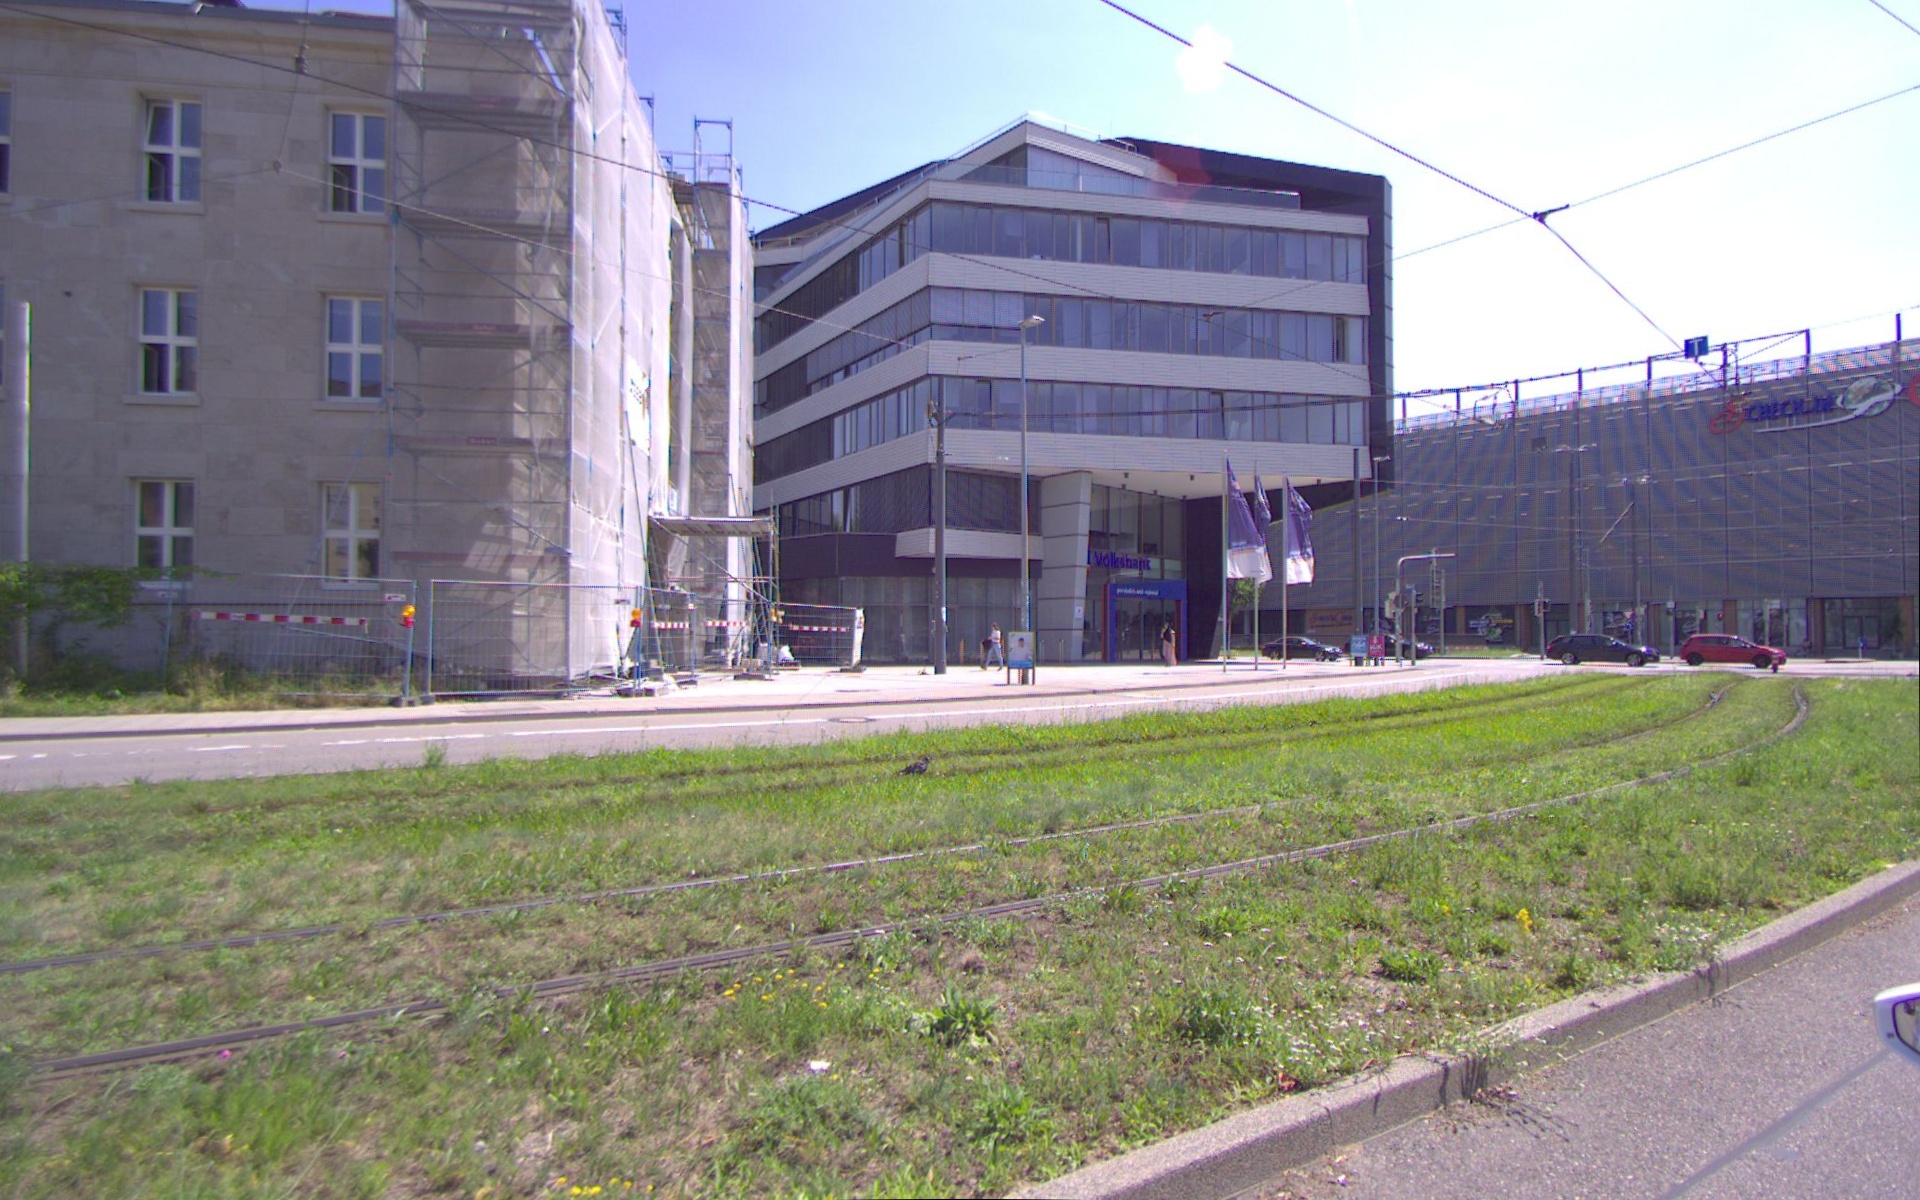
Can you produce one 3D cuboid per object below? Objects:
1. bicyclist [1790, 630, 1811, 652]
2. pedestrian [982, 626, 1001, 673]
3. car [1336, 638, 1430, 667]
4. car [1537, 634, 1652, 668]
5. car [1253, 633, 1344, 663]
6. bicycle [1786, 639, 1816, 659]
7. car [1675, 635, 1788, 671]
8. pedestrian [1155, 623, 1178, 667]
[{"bbox_3d":[60.766,2.955,72.651,0.770,1.592,1.031,1,-1,-38],"label":"bicyclist"},{"bbox_3d":[1.051,1.635,33.501,0.577,1.538,0.581,0,-1,6],"label":"pedestrian"},{"bbox_3d":[24.493,3.021,58.299,4.712,1.479,1.877,-1,-1,43],"label":"car"},{"bbox_3d":[30.260,2.407,47.953,4.471,1.528,1.835,-2,-2,38],"label":"car"},{"bbox_3d":[19.245,2.704,57.246,4.499,1.597,1.989,0,-1,43],"label":"car"},{"bbox_3d":[60.976,3.540,72.818,2.997,1.408,1.053,1,-1,-39],"label":"bicycle"},{"bbox_3d":[36.078,2.425,47.017,4.079,1.528,1.833,0,-1,42],"label":"car"},{"bbox_3d":[7.909,1.707,38.488,0.734,1.652,0.915,0,-1,21],"label":"pedestrian"}]
